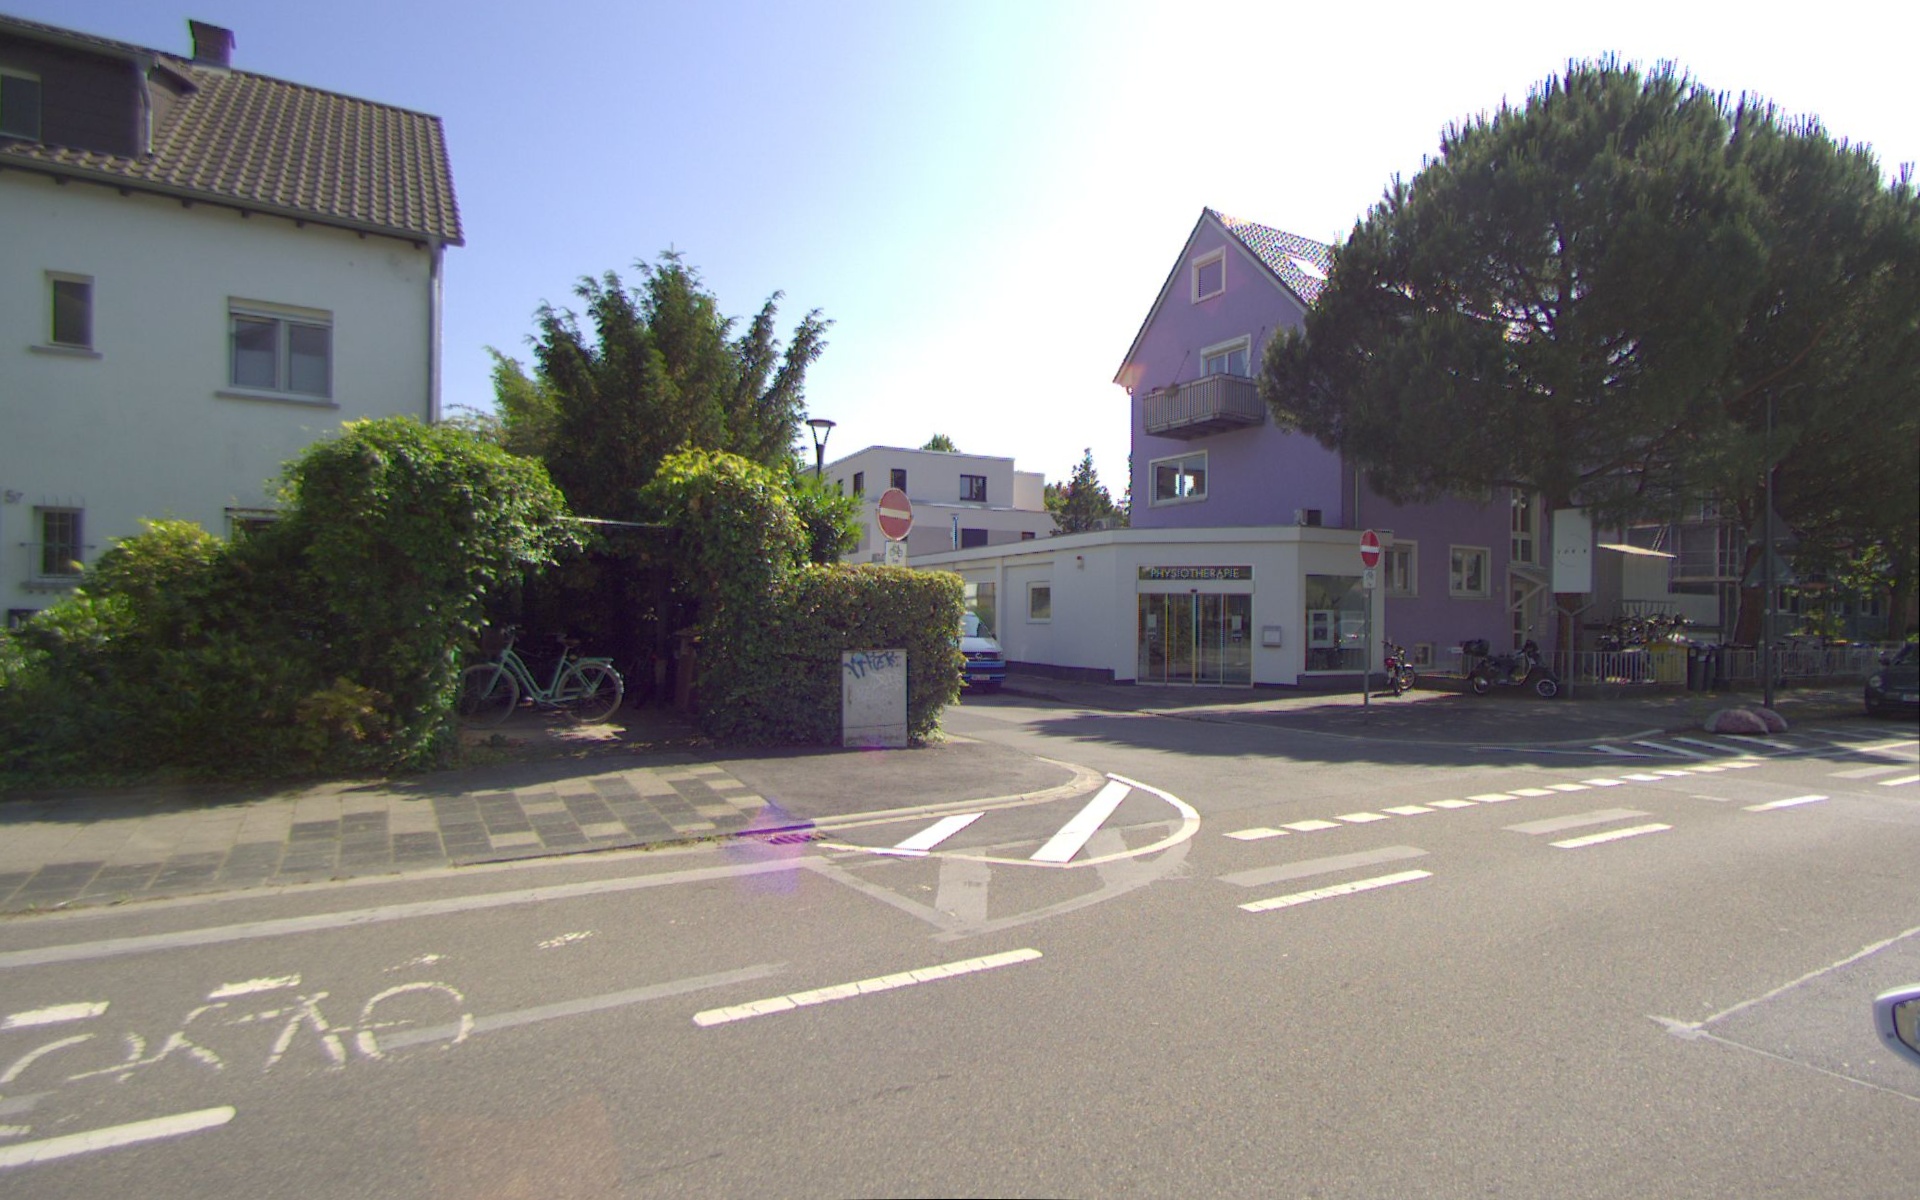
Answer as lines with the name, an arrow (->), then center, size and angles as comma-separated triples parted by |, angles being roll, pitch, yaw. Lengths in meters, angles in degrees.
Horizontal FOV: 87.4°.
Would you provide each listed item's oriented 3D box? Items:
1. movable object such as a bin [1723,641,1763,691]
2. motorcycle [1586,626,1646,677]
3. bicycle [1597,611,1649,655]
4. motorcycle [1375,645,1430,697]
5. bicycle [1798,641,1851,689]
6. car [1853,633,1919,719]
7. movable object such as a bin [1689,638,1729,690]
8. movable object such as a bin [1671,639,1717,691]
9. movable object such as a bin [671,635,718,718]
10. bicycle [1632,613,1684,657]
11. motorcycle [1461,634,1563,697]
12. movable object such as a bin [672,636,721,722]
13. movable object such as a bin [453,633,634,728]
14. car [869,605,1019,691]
movable object such as a bin -> 18.169, 1.516, 23.307 | 0.577, 1.126, 0.542 | 1, -1, -25
motorcycle -> 15.639, 1.223, 23.947 | 1.427, 1.197, 0.535 | 1, -1, -26
bicycle -> 18.604, 0.918, 28.178 | 1.427, 1.197, 0.535 | -1, 0, -26
motorcycle -> 9.646, 1.511, 21.833 | 0.632, 1.004, 2.348 | 0, -1, 36
bicycle -> 21.759, 1.621, 25.280 | 1.953, 1.161, 0.371 | 2, -1, -29
car -> 18.206, 1.341, 18.346 | 4.041, 1.479, 1.771 | 1, -2, -32
movable object such as a bin -> 16.934, 1.441, 22.713 | 0.425, 1.126, 0.603 | 1, -1, -25
movable object such as a bin -> 16.419, 1.437, 22.472 | 0.654, 1.126, 0.603 | 1, -1, -25
movable object such as a bin -> -3.347, 0.957, 12.694 | 0.519, 1.004, 0.484 | 1, 0, -10
bicycle -> 19.121, 0.964, 27.501 | 1.427, 1.197, 0.535 | 1, -1, -26
motorcycle -> 11.311, 1.318, 20.646 | 0.634, 1.197, 1.834 | 1, -1, -25
movable object such as a bin -> -3.183, 0.946, 12.168 | 0.519, 1.004, 0.484 | 1, 0, -10
movable object such as a bin -> -4.670, 0.881, 11.341 | 1.854, 1.004, 0.317 | 1, -1, -31
car -> -0.516, 1.130, 24.850 | 1.886, 1.913, 4.496 | 1, -1, -28
